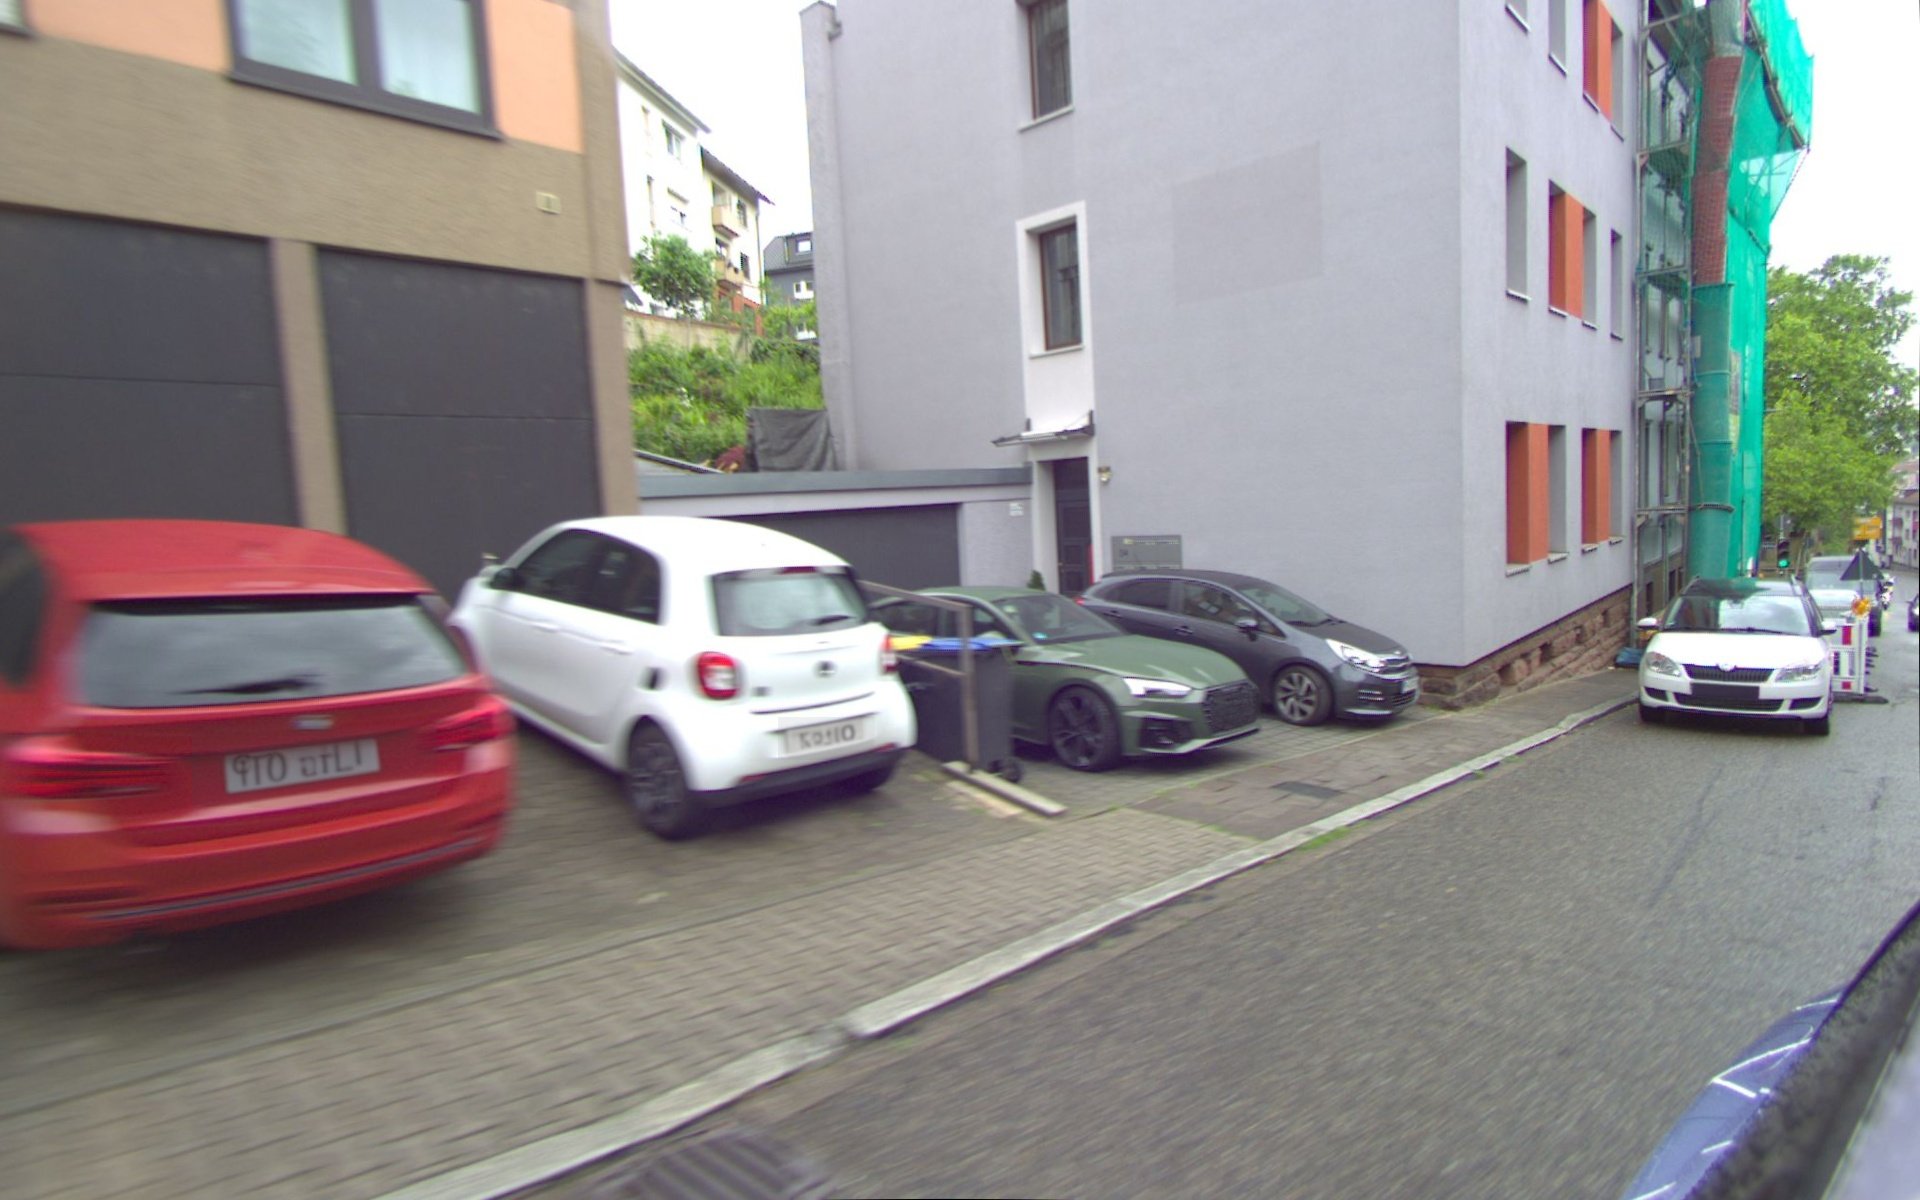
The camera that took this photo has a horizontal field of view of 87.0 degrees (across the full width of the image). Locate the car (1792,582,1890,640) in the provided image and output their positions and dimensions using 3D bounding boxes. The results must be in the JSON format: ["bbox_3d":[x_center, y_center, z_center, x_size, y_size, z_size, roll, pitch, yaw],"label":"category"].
[{"bbox_3d":[25.589,0.266,29.345,1.993,1.531,4.270,0,1,43],"label":"car"}]

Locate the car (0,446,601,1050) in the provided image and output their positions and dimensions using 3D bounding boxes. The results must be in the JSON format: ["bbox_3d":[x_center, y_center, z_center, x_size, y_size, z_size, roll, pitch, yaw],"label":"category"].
[{"bbox_3d":[-3.688,0.190,4.889,4.347,1.547,1.848,11,8,43],"label":"car"}]

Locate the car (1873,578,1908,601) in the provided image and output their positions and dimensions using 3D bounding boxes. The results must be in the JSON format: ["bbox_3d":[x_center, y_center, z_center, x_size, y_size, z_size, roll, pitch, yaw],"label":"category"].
[{"bbox_3d":[65.578,-0.759,71.345,1.631,1.549,3.942,0,0,40],"label":"car"}]

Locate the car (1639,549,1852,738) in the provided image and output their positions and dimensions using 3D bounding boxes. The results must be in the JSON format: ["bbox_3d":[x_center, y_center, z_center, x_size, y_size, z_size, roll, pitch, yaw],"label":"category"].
[{"bbox_3d":[9.078,0.416,11.571,1.639,1.785,3.939,0,0,42],"label":"car"}]

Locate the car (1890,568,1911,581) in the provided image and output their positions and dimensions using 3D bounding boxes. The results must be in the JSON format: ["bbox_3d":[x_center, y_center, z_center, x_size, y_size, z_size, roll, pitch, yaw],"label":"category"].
[{"bbox_3d":[113.210,-3.059,121.823,1.630,1.549,3.943,0,0,40],"label":"car"}]

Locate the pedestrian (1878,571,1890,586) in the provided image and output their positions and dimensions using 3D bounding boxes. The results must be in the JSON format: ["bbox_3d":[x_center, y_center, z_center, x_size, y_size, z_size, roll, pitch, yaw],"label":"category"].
[{"bbox_3d":[96.949,-2.232,106.229,0.868,1.561,1.071,0,-1,41],"label":"pedestrian"}]

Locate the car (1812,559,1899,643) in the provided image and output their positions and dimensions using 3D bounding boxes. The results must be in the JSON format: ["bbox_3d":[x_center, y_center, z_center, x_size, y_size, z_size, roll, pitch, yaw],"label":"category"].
[{"bbox_3d":[29.619,-0.064,33.409,1.993,2.443,5.748,0,2,43],"label":"car"}]

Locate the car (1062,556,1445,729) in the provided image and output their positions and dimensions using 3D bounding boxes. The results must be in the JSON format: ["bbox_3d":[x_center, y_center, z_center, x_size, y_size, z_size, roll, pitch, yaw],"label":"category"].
[{"bbox_3d":[3.176,0.339,11.414,3.802,1.569,1.635,3,2,43],"label":"car"}]

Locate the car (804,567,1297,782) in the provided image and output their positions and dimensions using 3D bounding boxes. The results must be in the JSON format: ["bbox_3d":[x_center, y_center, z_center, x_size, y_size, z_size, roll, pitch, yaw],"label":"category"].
[{"bbox_3d":[0.645,0.470,9.294,4.267,1.484,1.865,2,2,43],"label":"car"}]

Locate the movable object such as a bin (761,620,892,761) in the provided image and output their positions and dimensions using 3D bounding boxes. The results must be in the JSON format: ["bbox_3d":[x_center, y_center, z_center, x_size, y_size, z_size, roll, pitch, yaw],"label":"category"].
[{"bbox_3d":[-1.095,0.707,8.325,0.722,1.033,0.760,0,2,43],"label":"movable object such as a bin"}]

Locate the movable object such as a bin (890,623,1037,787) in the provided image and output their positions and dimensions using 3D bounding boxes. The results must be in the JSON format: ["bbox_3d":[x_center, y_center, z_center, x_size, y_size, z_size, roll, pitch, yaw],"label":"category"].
[{"bbox_3d":[0.028,0.716,7.299,0.722,1.033,0.760,0,2,43],"label":"movable object such as a bin"}]

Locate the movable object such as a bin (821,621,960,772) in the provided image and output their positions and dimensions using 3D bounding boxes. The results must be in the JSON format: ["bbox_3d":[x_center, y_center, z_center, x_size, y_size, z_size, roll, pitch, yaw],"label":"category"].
[{"bbox_3d":[-0.532,0.707,7.805,0.722,1.033,0.760,0,2,43],"label":"movable object such as a bin"}]

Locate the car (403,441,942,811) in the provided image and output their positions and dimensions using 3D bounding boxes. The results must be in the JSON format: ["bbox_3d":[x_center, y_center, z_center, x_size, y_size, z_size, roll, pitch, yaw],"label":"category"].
[{"bbox_3d":[-2.143,-0.071,6.857,3.829,1.721,1.702,10,7,42],"label":"car"}]
